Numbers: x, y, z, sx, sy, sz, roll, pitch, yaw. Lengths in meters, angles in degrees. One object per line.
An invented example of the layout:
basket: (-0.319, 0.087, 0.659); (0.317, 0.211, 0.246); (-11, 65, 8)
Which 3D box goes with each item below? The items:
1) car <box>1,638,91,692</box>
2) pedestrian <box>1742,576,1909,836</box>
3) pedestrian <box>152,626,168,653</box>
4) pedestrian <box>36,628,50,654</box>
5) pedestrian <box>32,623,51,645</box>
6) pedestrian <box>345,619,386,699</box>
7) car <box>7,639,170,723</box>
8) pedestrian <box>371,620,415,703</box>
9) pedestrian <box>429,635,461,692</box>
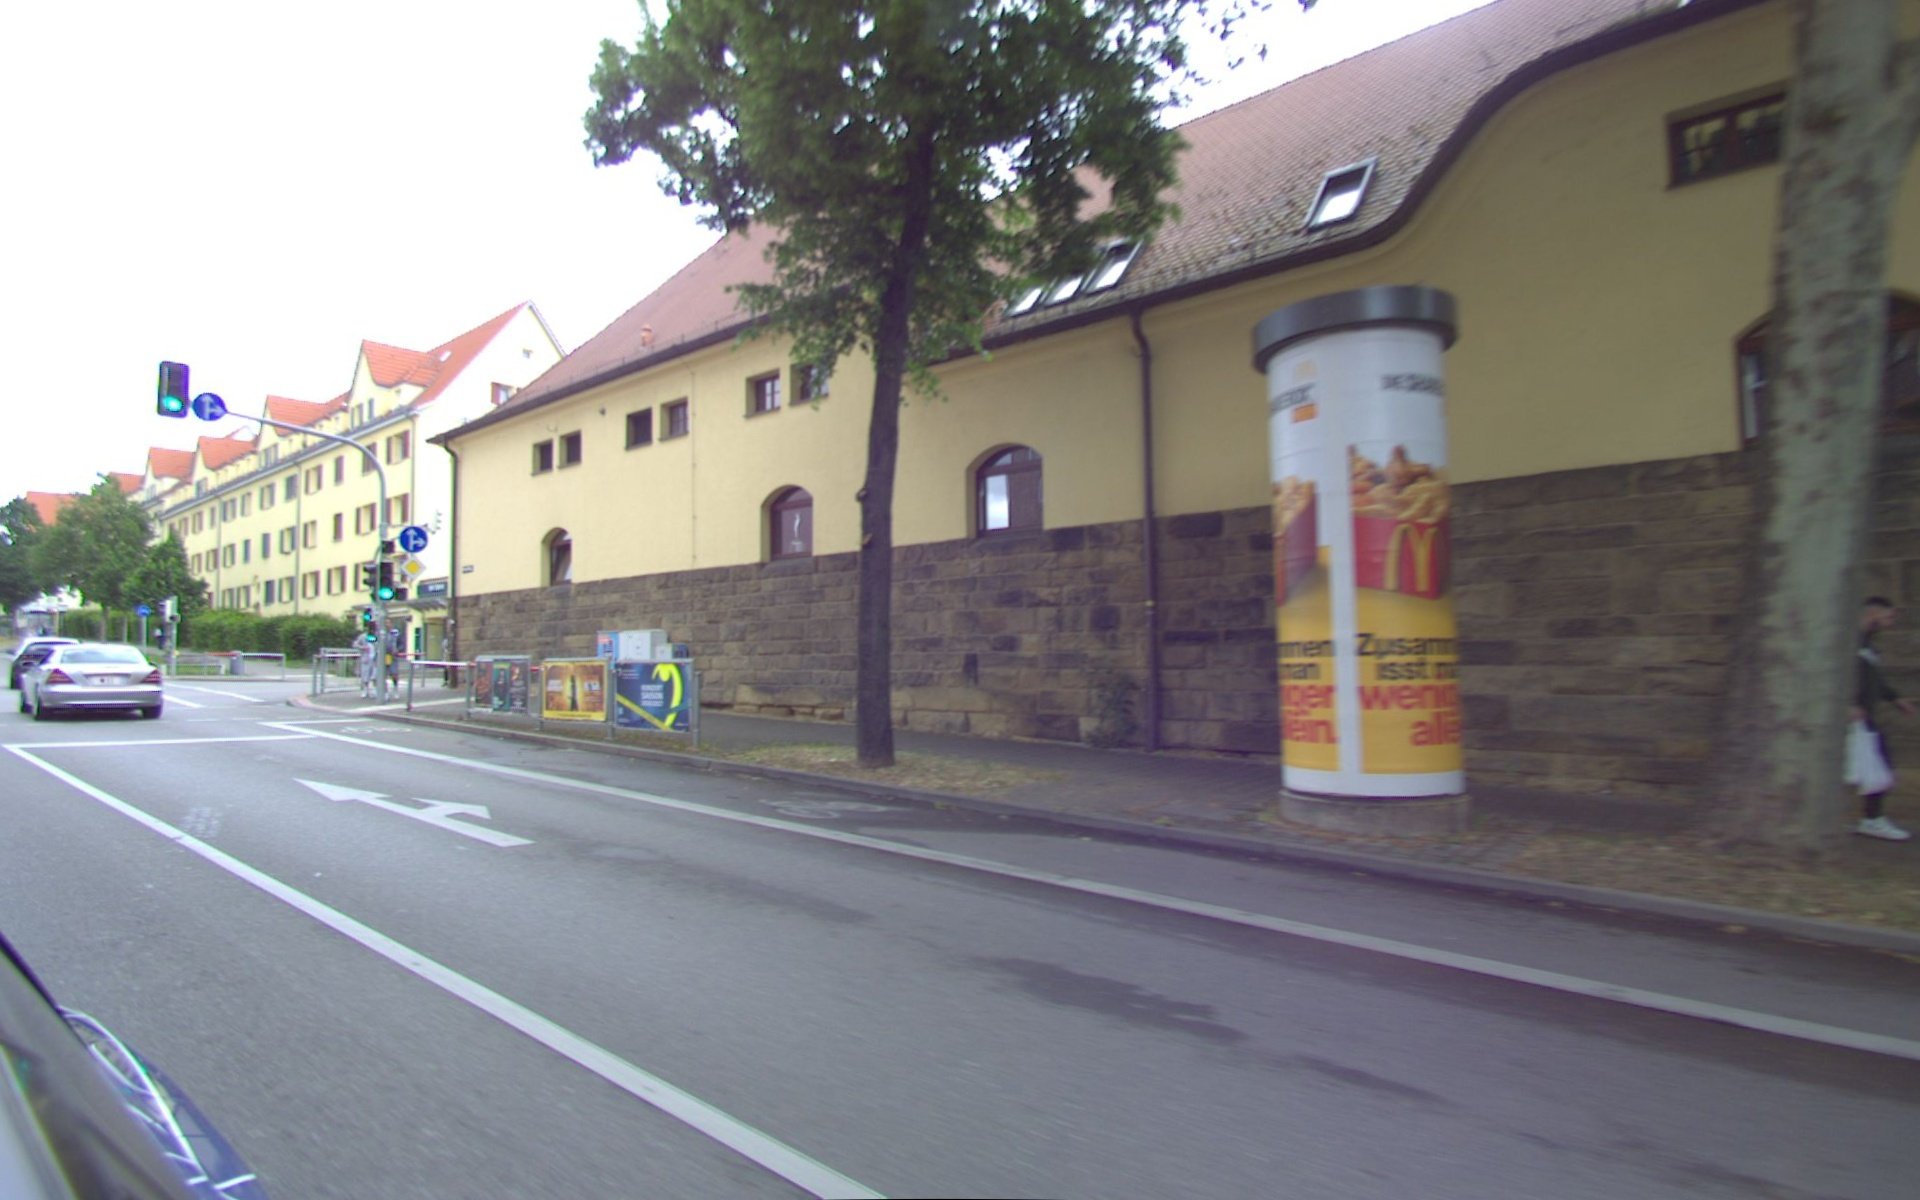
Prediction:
car: (-26.264, 1.830, 29.039); (1.683, 1.425, 4.194); (3, -4, -44)
pedestrian: (6.508, 0.760, 7.645); (0.874, 1.808, 0.769); (-2, -3, 40)
pedestrian: (-50.123, 2.480, 63.417); (0.617, 1.631, 0.634); (-2, -3, 39)
pedestrian: (-62.806, 2.813, 69.294); (0.861, 1.740, 0.591); (-2, -2, 43)
pedestrian: (-64.559, 2.388, 71.112); (0.806, 1.521, 0.890); (-2, -2, 41)
pedestrian: (-13.599, 1.341, 23.145); (0.716, 1.790, 0.558); (-2, -3, 40)
car: (-15.717, 1.410, 18.179); (4.095, 1.285, 1.667); (-1, -5, 43)
pedestrian: (-12.572, 1.349, 22.445); (0.841, 1.790, 0.558); (-2, -3, 40)
pedestrian: (-14.606, 1.785, 28.717); (0.557, 1.578, 0.843); (2, -3, -44)
